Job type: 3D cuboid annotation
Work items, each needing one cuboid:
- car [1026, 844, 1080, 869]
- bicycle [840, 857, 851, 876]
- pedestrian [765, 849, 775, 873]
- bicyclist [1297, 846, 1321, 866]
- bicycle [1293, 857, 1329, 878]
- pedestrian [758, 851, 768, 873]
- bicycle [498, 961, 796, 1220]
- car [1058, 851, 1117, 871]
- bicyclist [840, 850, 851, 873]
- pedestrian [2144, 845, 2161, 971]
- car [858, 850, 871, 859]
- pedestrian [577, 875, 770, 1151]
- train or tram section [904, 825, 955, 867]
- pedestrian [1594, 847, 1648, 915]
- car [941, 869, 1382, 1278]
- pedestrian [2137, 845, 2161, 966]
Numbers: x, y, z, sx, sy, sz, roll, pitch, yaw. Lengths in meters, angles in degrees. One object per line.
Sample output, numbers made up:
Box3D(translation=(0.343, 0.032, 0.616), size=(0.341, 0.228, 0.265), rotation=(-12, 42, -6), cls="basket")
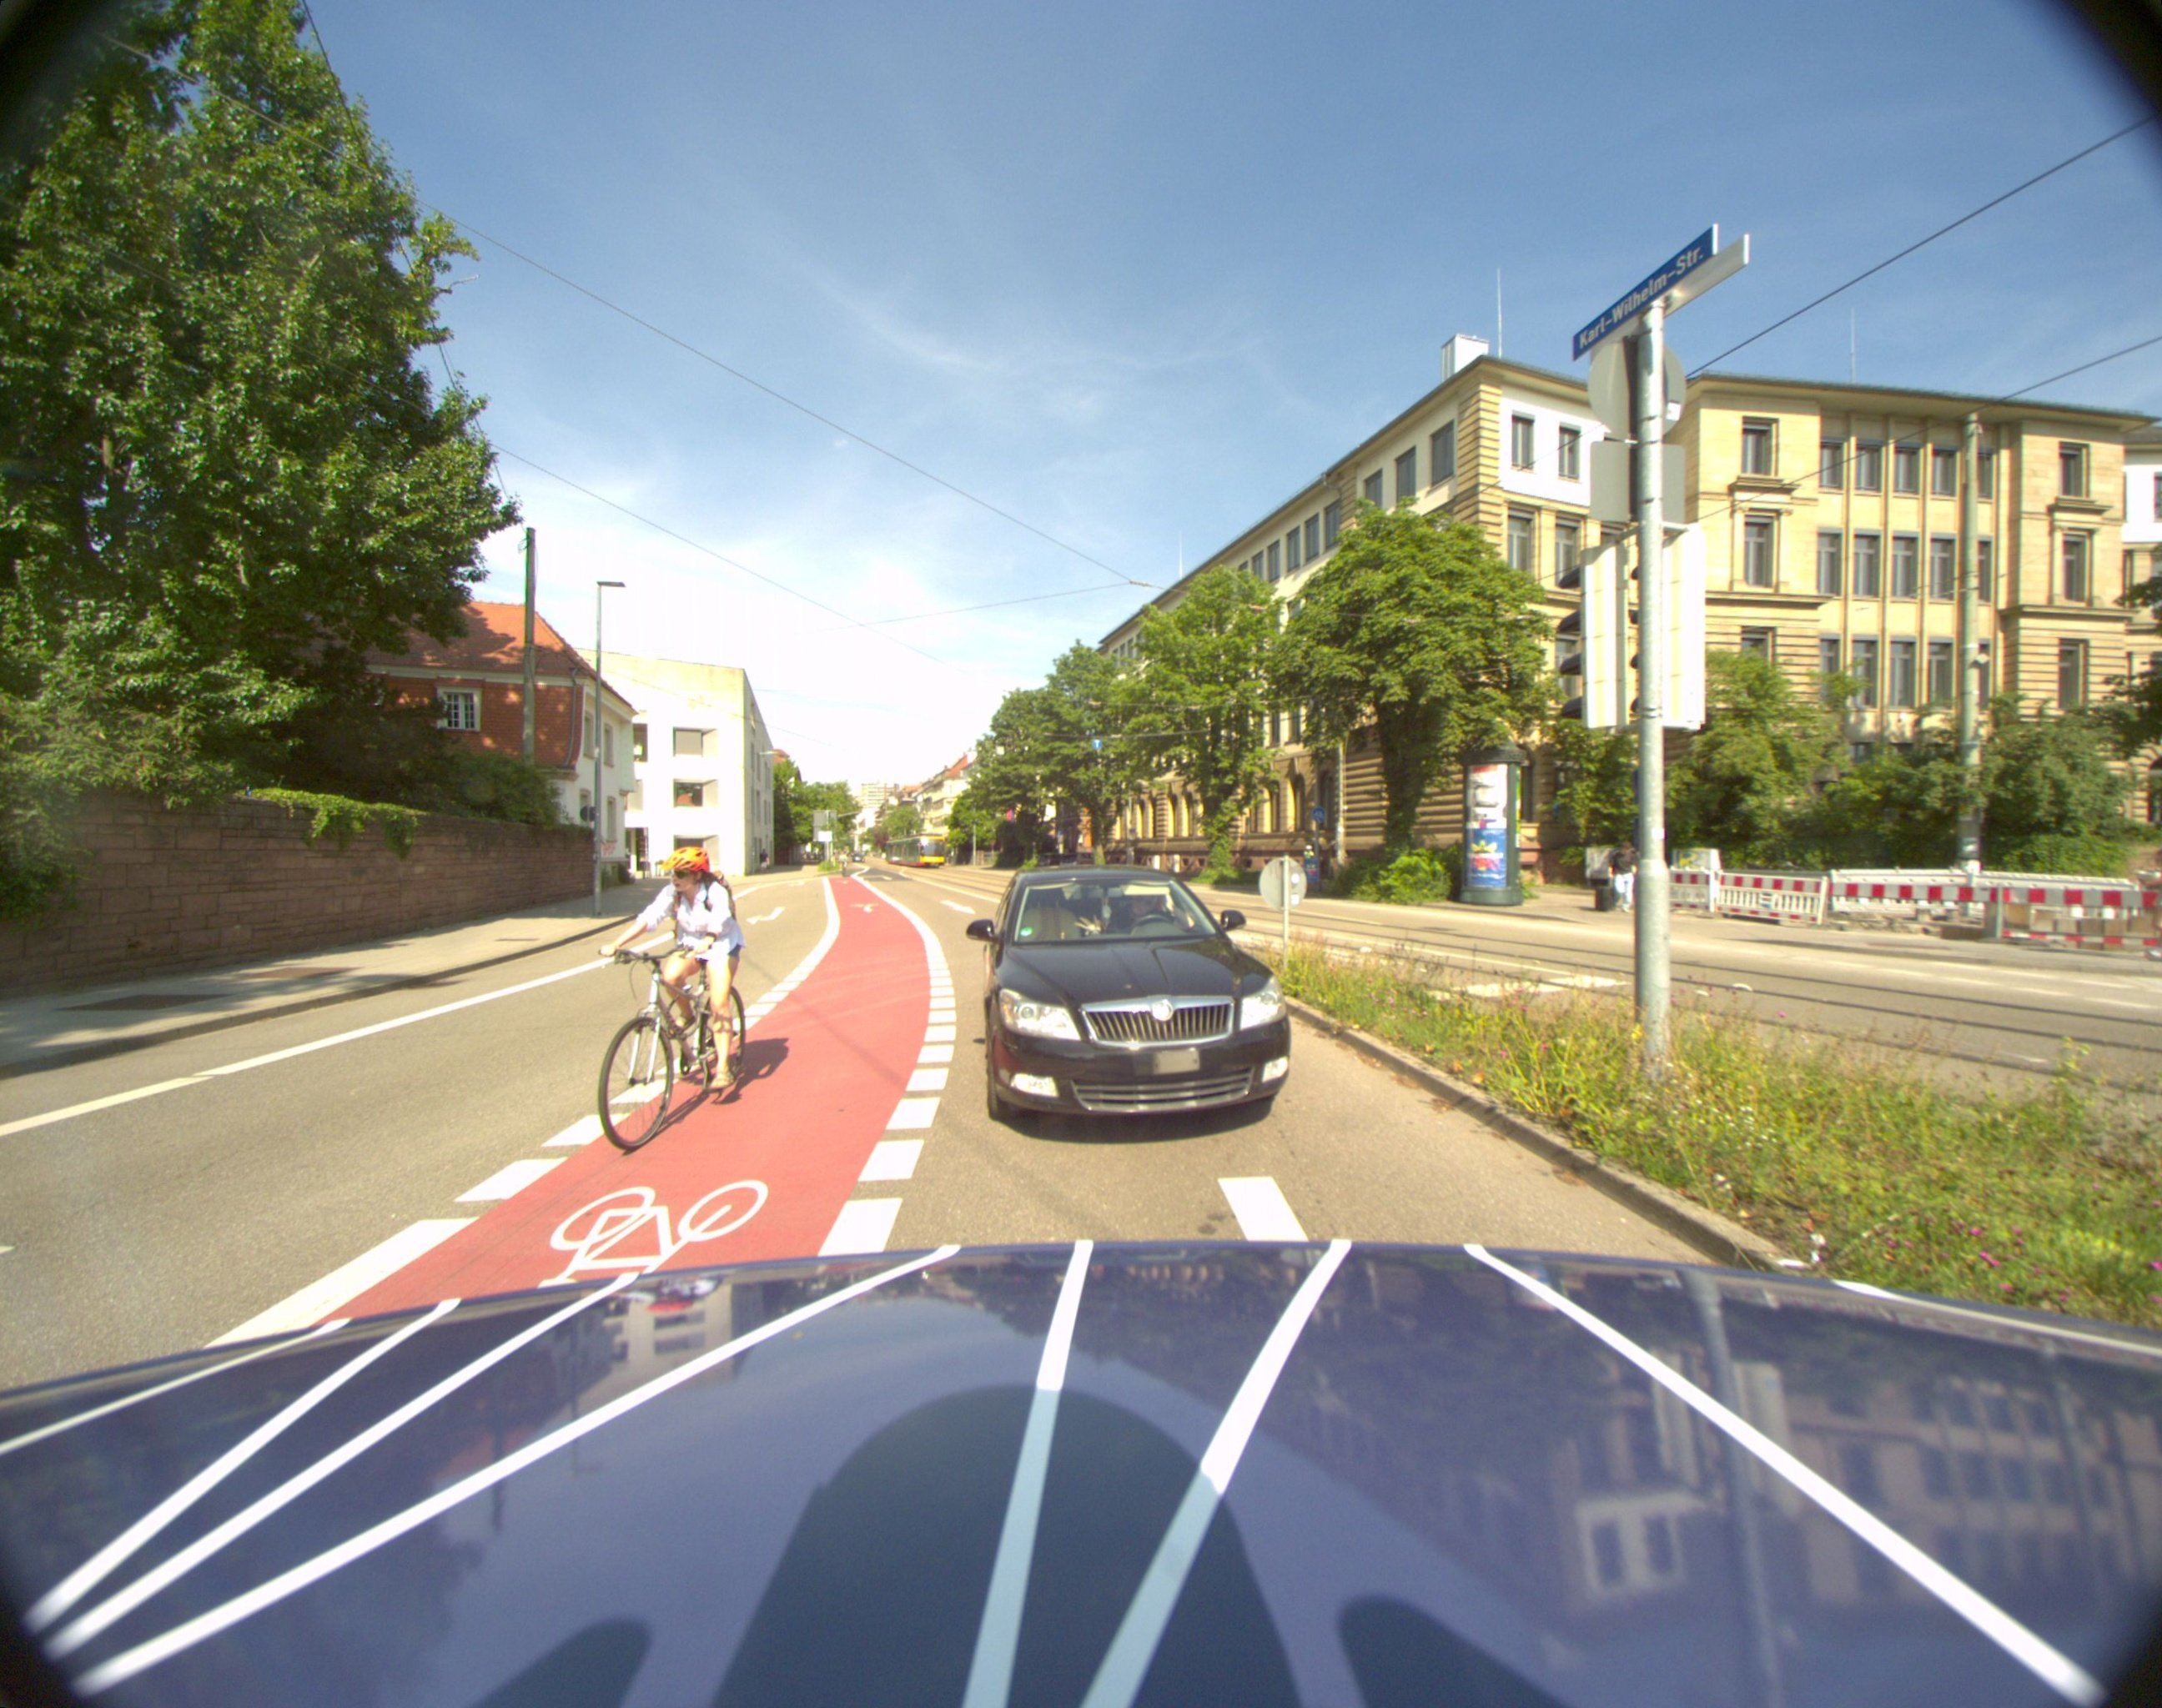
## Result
Box3D(translation=(-2.274, 0.238, 62.387), size=(4.004, 2.002, 1.996), rotation=(0, 0, -20), cls="car")
Box3D(translation=(-16.068, 0.838, 51.838), size=(0.686, 1.215, 2.183), rotation=(0, 0, -16), cls="bicycle")
Box3D(translation=(-22.336, 0.525, 54.603), size=(0.651, 1.697, 0.710), rotation=(0, 1, -19), cls="pedestrian")
Box3D(translation=(10.589, 0.081, 35.296), size=(0.683, 0.921, 0.868), rotation=(0, 1, -23), cls="bicyclist")
Box3D(translation=(10.632, 0.611, 35.190), size=(0.702, 0.941, 1.662), rotation=(0, 1, -23), cls="bicycle")
Box3D(translation=(-22.676, 0.544, 54.197), size=(0.550, 1.559, 0.930), rotation=(0, 1, -19), cls="pedestrian")
Box3D(translation=(-2.431, 1.264, 4.608), size=(0.598, 0.926, 2.028), rotation=(-1, 0, 1), cls="bicycle")
Box3D(translation=(0.506, 0.548, 57.315), size=(4.004, 1.455, 1.996), rotation=(0, 0, -20), cls="car")
Box3D(translation=(-16.061, 0.521, 51.792), size=(0.588, 1.539, 0.930), rotation=(-3, 1, -16), cls="bicyclist")
Box3D(translation=(15.373, 0.751, 10.489), size=(0.586, 1.739, 0.743), rotation=(-1, 1, -41), cls="pedestrian")
Box3D(translation=(-34.098, 0.074, 119.903), size=(1.804, 1.368, 4.271), rotation=(0, 0, -14), cls="car")
Box3D(translation=(-2.424, 0.883, 4.642), size=(0.584, 1.458, 1.013), rotation=(-1, 1, 1), cls="pedestrian")
Box3D(translation=(-15.451, -0.717, 76.399), size=(3.219, 3.838, 14.563), rotation=(0, 0, -19), cls="train or tram section")
Box3D(translation=(13.488, 0.654, 18.996), size=(0.938, 1.646, 0.845), rotation=(0, 1, 25), cls="pedestrian")
Box3D(translation=(0.111, 0.941, 5.571), size=(1.865, 1.510, 4.824), rotation=(0, 1, -6), cls="car")
Box3D(translation=(15.902, 0.734, 10.940), size=(0.586, 1.739, 0.743), rotation=(-1, 1, -41), cls="pedestrian")
